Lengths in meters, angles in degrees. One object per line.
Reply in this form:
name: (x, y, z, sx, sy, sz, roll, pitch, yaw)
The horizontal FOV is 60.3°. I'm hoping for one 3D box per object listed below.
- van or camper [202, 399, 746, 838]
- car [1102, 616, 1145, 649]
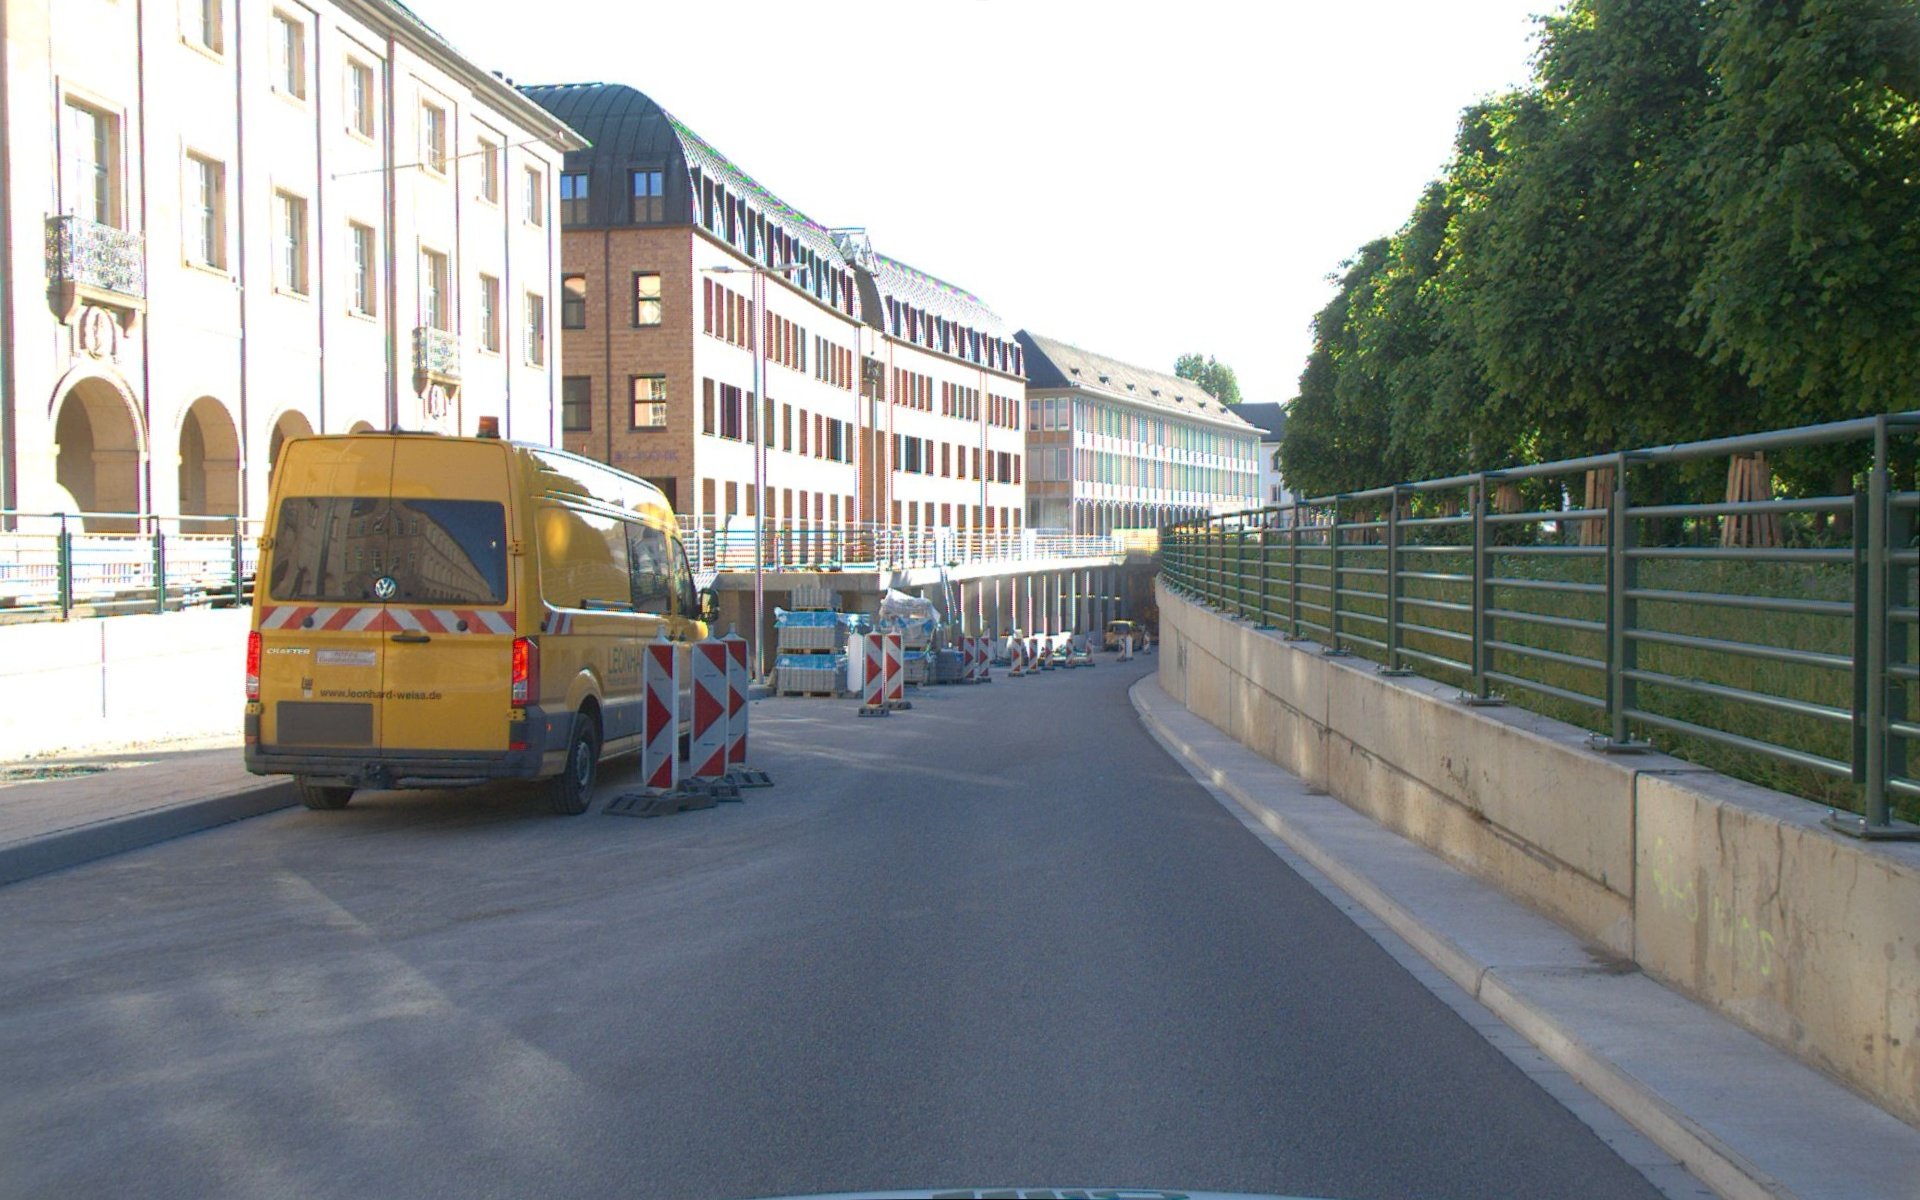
van or camper: (-3.472, 0.142, 13.711, 2.148, 2.658, 6.826, 2, -1, 2)
car: (9.850, 1.928, 99.232, 1.809, 1.806, 4.438, 1, 1, 16)
